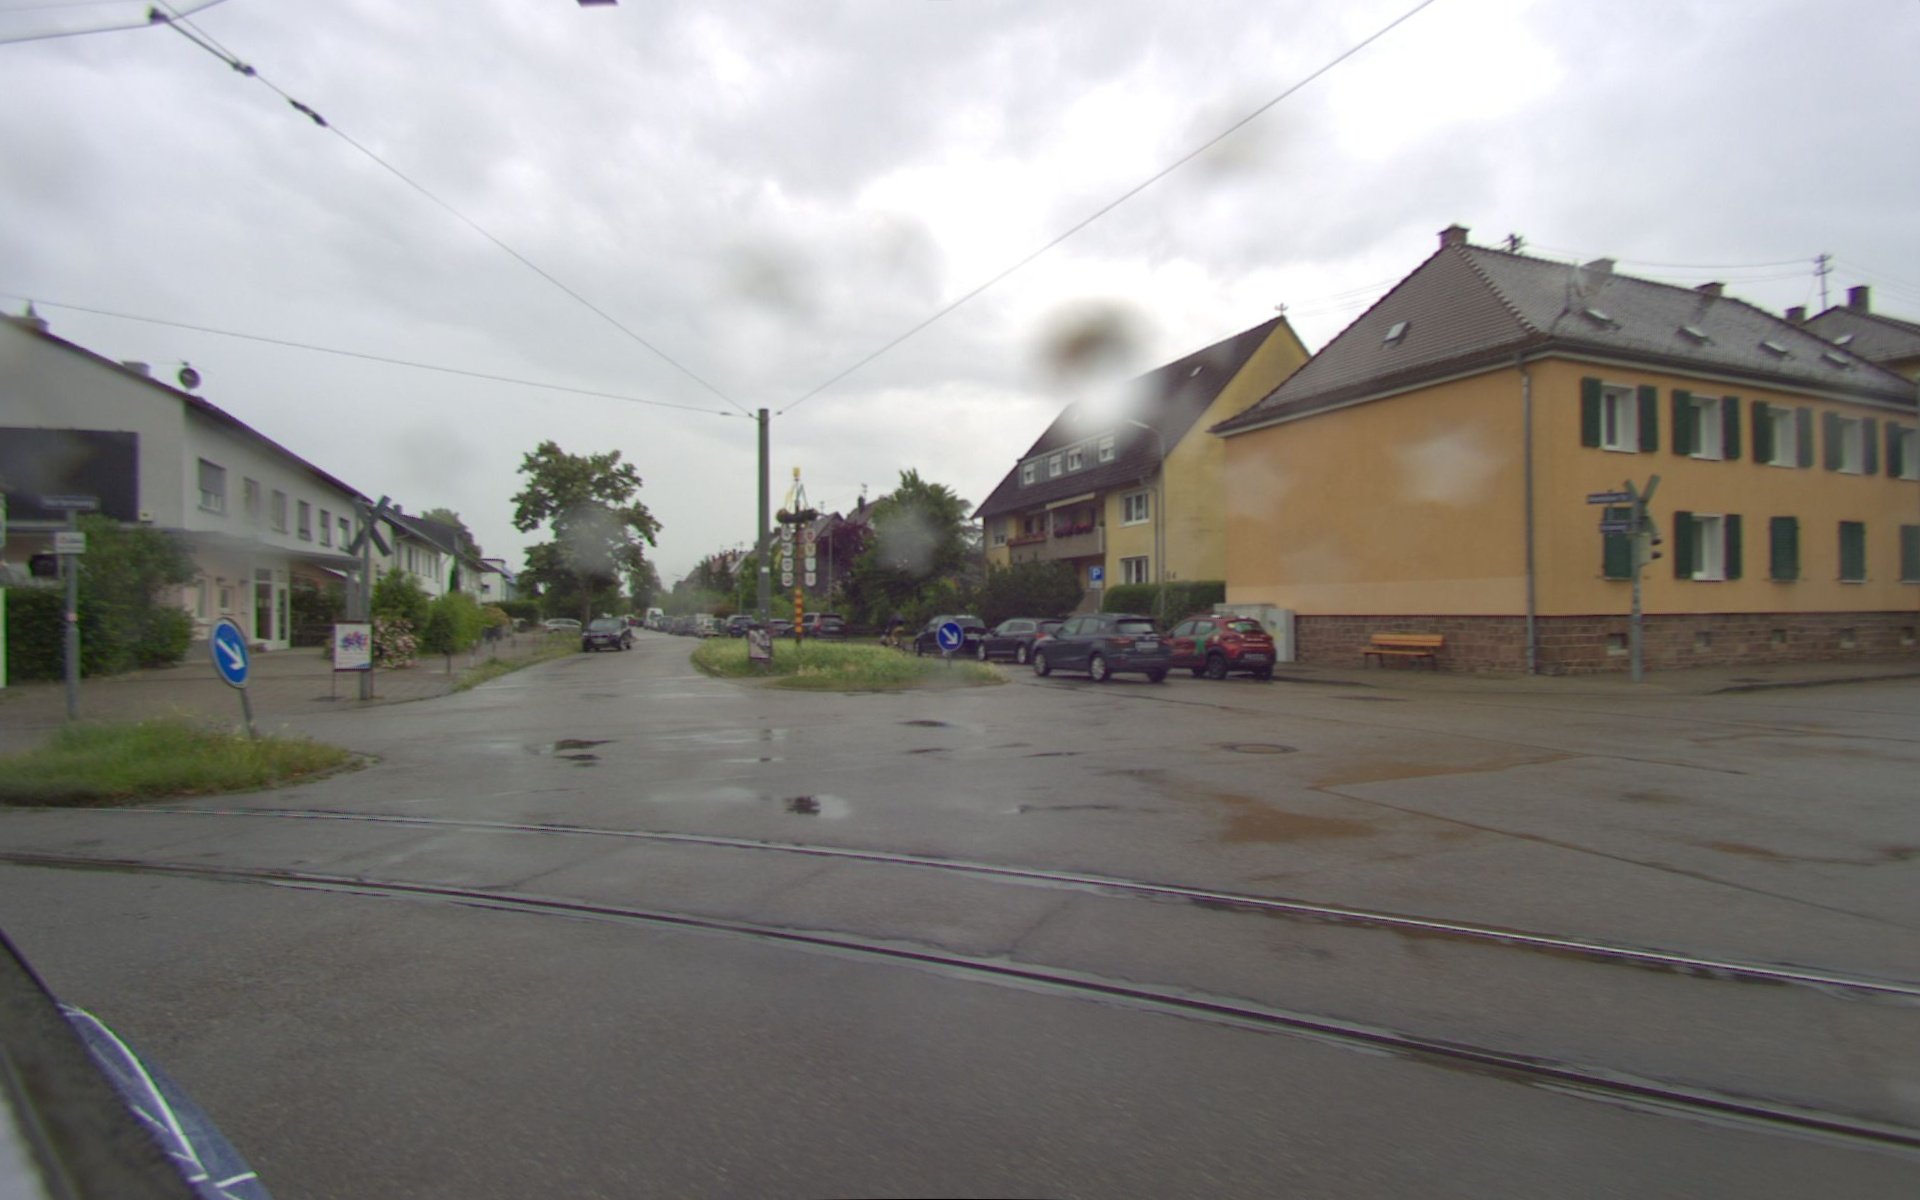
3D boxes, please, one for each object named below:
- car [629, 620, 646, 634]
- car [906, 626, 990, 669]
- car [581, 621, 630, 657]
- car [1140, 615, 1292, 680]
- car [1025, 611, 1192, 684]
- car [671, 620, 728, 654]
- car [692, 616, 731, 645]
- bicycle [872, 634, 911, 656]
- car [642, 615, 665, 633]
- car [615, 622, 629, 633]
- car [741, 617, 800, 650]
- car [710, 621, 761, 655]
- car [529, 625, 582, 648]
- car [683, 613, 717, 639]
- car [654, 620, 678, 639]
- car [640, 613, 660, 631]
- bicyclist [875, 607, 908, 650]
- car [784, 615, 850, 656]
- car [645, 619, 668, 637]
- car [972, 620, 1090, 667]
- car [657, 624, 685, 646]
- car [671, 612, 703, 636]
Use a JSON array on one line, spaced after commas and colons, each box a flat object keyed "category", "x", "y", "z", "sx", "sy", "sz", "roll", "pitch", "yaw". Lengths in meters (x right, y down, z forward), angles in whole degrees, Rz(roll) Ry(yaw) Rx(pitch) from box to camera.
[{"category": "car", "x": -45.584, "y": 3.773, "z": 142.906, "sx": 1.965, "sy": 1.807, "sz": 4.013, "roll": 0, "pitch": 1, "yaw": -23}, {"category": "car", "x": -0.519, "y": 1.757, "z": 38.392, "sx": 1.729, "sy": 1.342, "sz": 4.013, "roll": 0, "pitch": 1, "yaw": -25}, {"category": "car", "x": -17.025, "y": 1.833, "z": 48.758, "sx": 1.760, "sy": 1.473, "sz": 4.010, "roll": 0, "pitch": 1, "yaw": -12}, {"category": "car", "x": 6.144, "y": 1.094, "z": 24.694, "sx": 1.693, "sy": 1.349, "sz": 3.629, "roll": 0, "pitch": 1, "yaw": -24}, {"category": "car", "x": 3.306, "y": 1.049, "z": 23.324, "sx": 1.965, "sy": 1.487, "sz": 4.013, "roll": 0, "pitch": -1, "yaw": -23}, {"category": "car", "x": -12.323, "y": 1.708, "z": 47.719, "sx": 1.965, "sy": 1.487, "sz": 4.013, "roll": 0, "pitch": -1, "yaw": -23}, {"category": "car", "x": -17.495, "y": 2.104, "z": 71.120, "sx": 1.965, "sy": 1.807, "sz": 4.013, "roll": 0, "pitch": 1, "yaw": -24}, {"category": "bicycle", "x": -2.618, "y": 1.697, "z": 38.615, "sx": 0.926, "sy": 0.792, "sz": 1.825, "roll": 0, "pitch": -2, "yaw": -23}, {"category": "car", "x": -34.751, "y": 2.684, "z": 114.749, "sx": 1.965, "sy": 1.807, "sz": 4.013, "roll": 0, "pitch": 1, "yaw": -24}, {"category": "car", "x": -59.117, "y": 4.752, "z": 176.983, "sx": 1.965, "sy": 1.807, "sz": 4.013, "roll": 0, "pitch": 1, "yaw": -24}, {"category": "car", "x": -10.494, "y": 1.797, "z": 55.756, "sx": 1.966, "sy": 1.586, "sz": 4.139, "roll": 0, "pitch": 1, "yaw": -30}, {"category": "car", "x": -13.547, "y": 2.251, "z": 60.863, "sx": 1.966, "sy": 1.807, "sz": 4.013, "roll": 0, "pitch": 1, "yaw": -29}, {"category": "car", "x": -33.082, "y": 2.945, "z": 82.736, "sx": 3.930, "sy": 1.695, "sz": 2.007, "roll": 0, "pitch": 1, "yaw": -23}, {"category": "car", "x": -20.155, "y": 1.989, "z": 78.349, "sx": 1.965, "sy": 1.807, "sz": 4.013, "roll": 0, "pitch": 1, "yaw": -24}, {"category": "car", "x": -30.493, "y": 3.007, "z": 104.877, "sx": 1.965, "sy": 1.807, "sz": 4.013, "roll": 0, "pitch": 1, "yaw": -24}, {"category": "car", "x": -37.200, "y": 2.627, "z": 121.225, "sx": 1.965, "sy": 2.049, "sz": 4.013, "roll": 0, "pitch": 1, "yaw": -21}, {"category": "bicyclist", "x": -2.621, "y": 1.097, "z": 38.618, "sx": 0.933, "sy": 1.610, "sz": 1.045, "roll": 0, "pitch": -2, "yaw": -23}, {"category": "car", "x": -7.198, "y": 1.714, "z": 50.518, "sx": 1.966, "sy": 1.807, "sz": 4.013, "roll": 0, "pitch": 1, "yaw": -29}, {"category": "car", "x": -32.732, "y": 2.990, "z": 109.088, "sx": 1.913, "sy": 1.707, "sz": 4.013, "roll": 0, "pitch": 1, "yaw": -24}, {"category": "car", "x": 2.203, "y": 1.362, "z": 32.975, "sx": 1.933, "sy": 1.406, "sz": 4.520, "roll": 0, "pitch": -1, "yaw": -24}, {"category": "car", "x": -26.504, "y": 3.201, "z": 92.705, "sx": 1.965, "sy": 1.807, "sz": 4.013, "roll": 0, "pitch": 1, "yaw": -24}, {"category": "car", "x": -22.457, "y": 1.912, "z": 83.183, "sx": 1.965, "sy": 1.807, "sz": 4.013, "roll": 0, "pitch": 1, "yaw": -24}]
